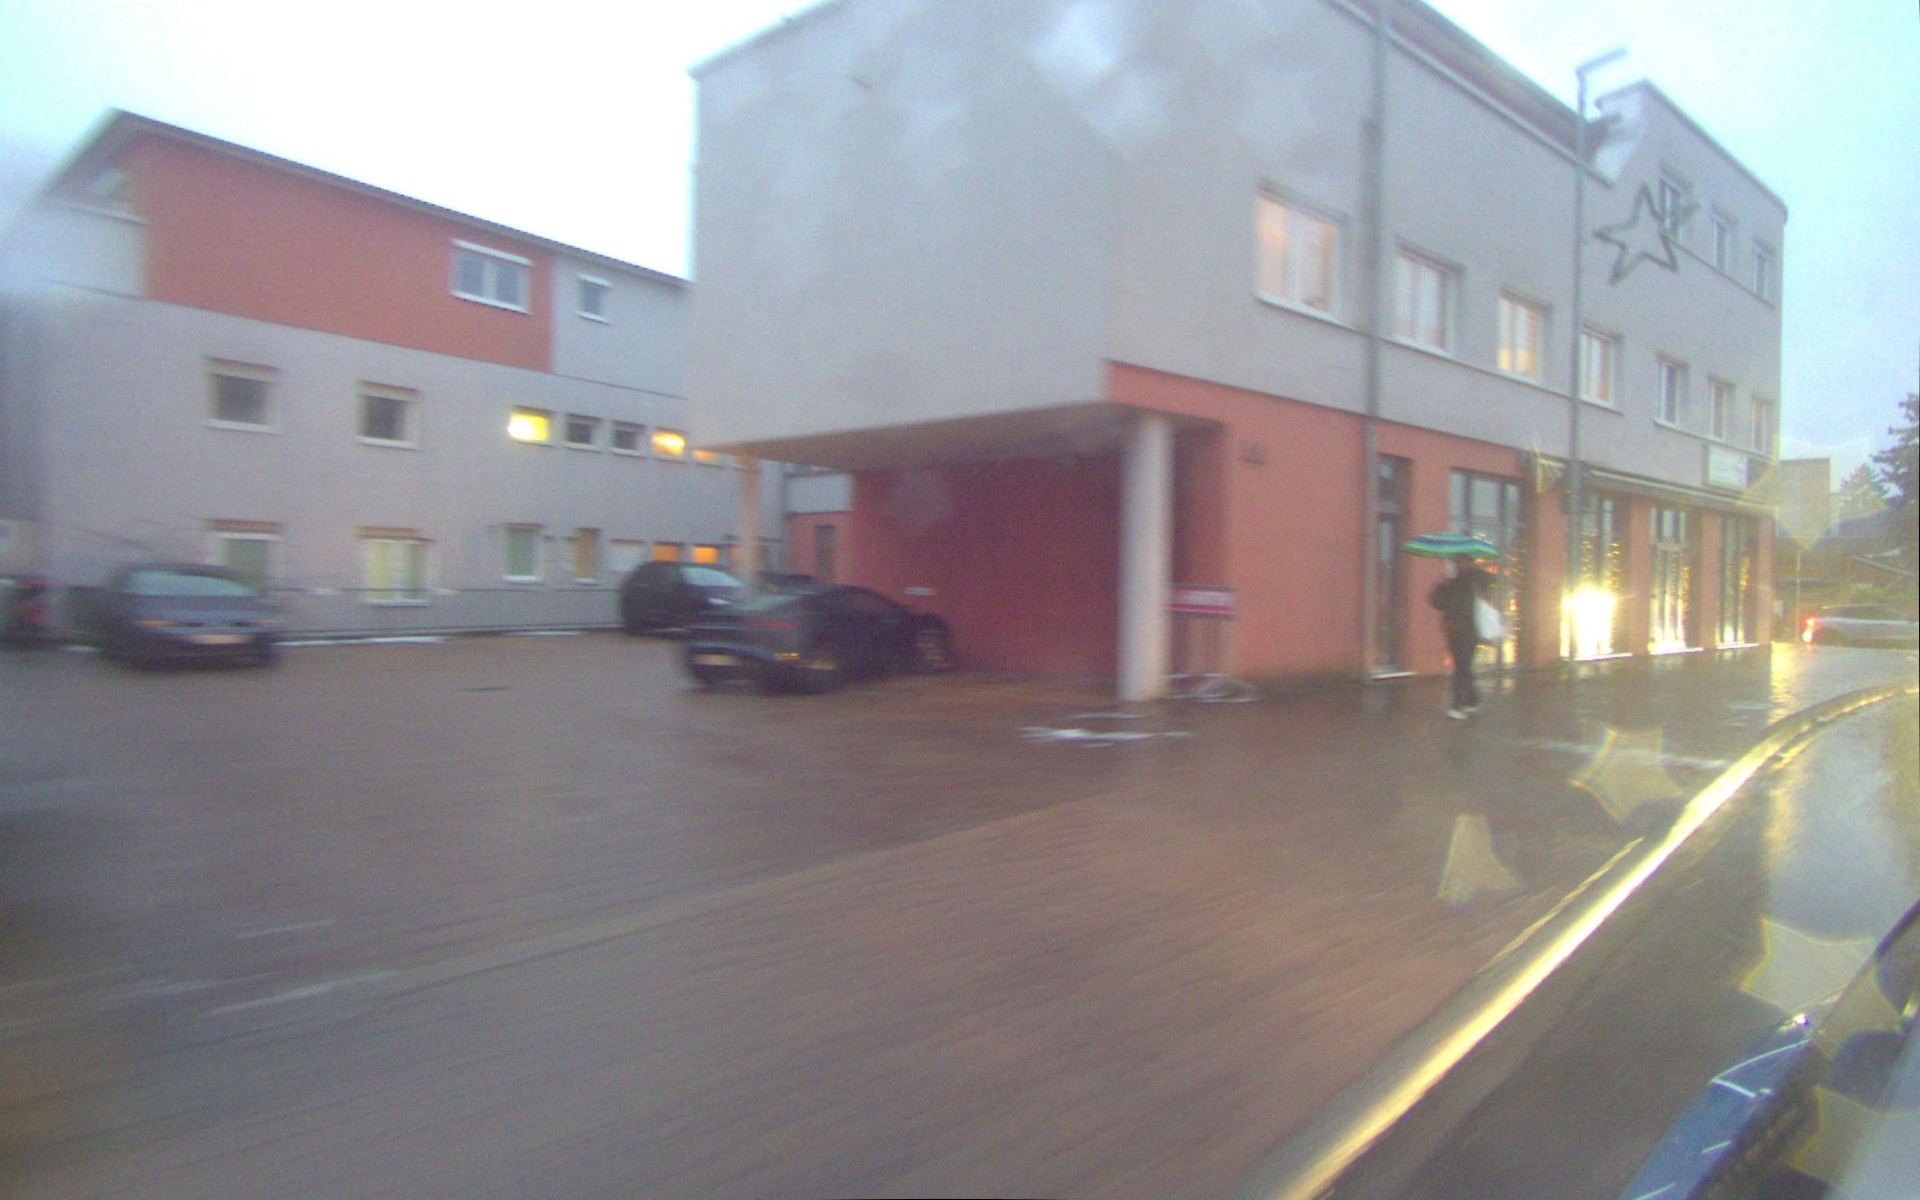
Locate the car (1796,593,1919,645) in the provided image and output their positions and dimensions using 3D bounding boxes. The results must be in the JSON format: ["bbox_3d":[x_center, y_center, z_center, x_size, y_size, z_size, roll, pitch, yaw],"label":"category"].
[{"bbox_3d":[27.408,0.571,29.684,1.765,1.460,4.177,2,-3,-40],"label":"car"}]

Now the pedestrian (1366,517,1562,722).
[{"bbox_3d":[5.049,0.146,10.169,1.279,1.888,1.259,0,3,-37],"label":"pedestrian"}]

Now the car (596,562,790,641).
[{"bbox_3d":[-5.885,-0.030,21.960,4.708,1.483,1.844,3,2,43],"label":"car"}]

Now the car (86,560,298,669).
[{"bbox_3d":[-11.462,0.143,15.013,3.985,1.394,1.814,1,1,42],"label":"car"}]

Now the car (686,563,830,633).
[{"bbox_3d":[-5.115,-0.105,25.390,3.741,1.588,1.688,3,2,43],"label":"car"}]

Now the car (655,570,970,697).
[{"bbox_3d":[-1.710,0.293,13.112,1.866,1.274,4.125,2,3,31],"label":"car"}]
